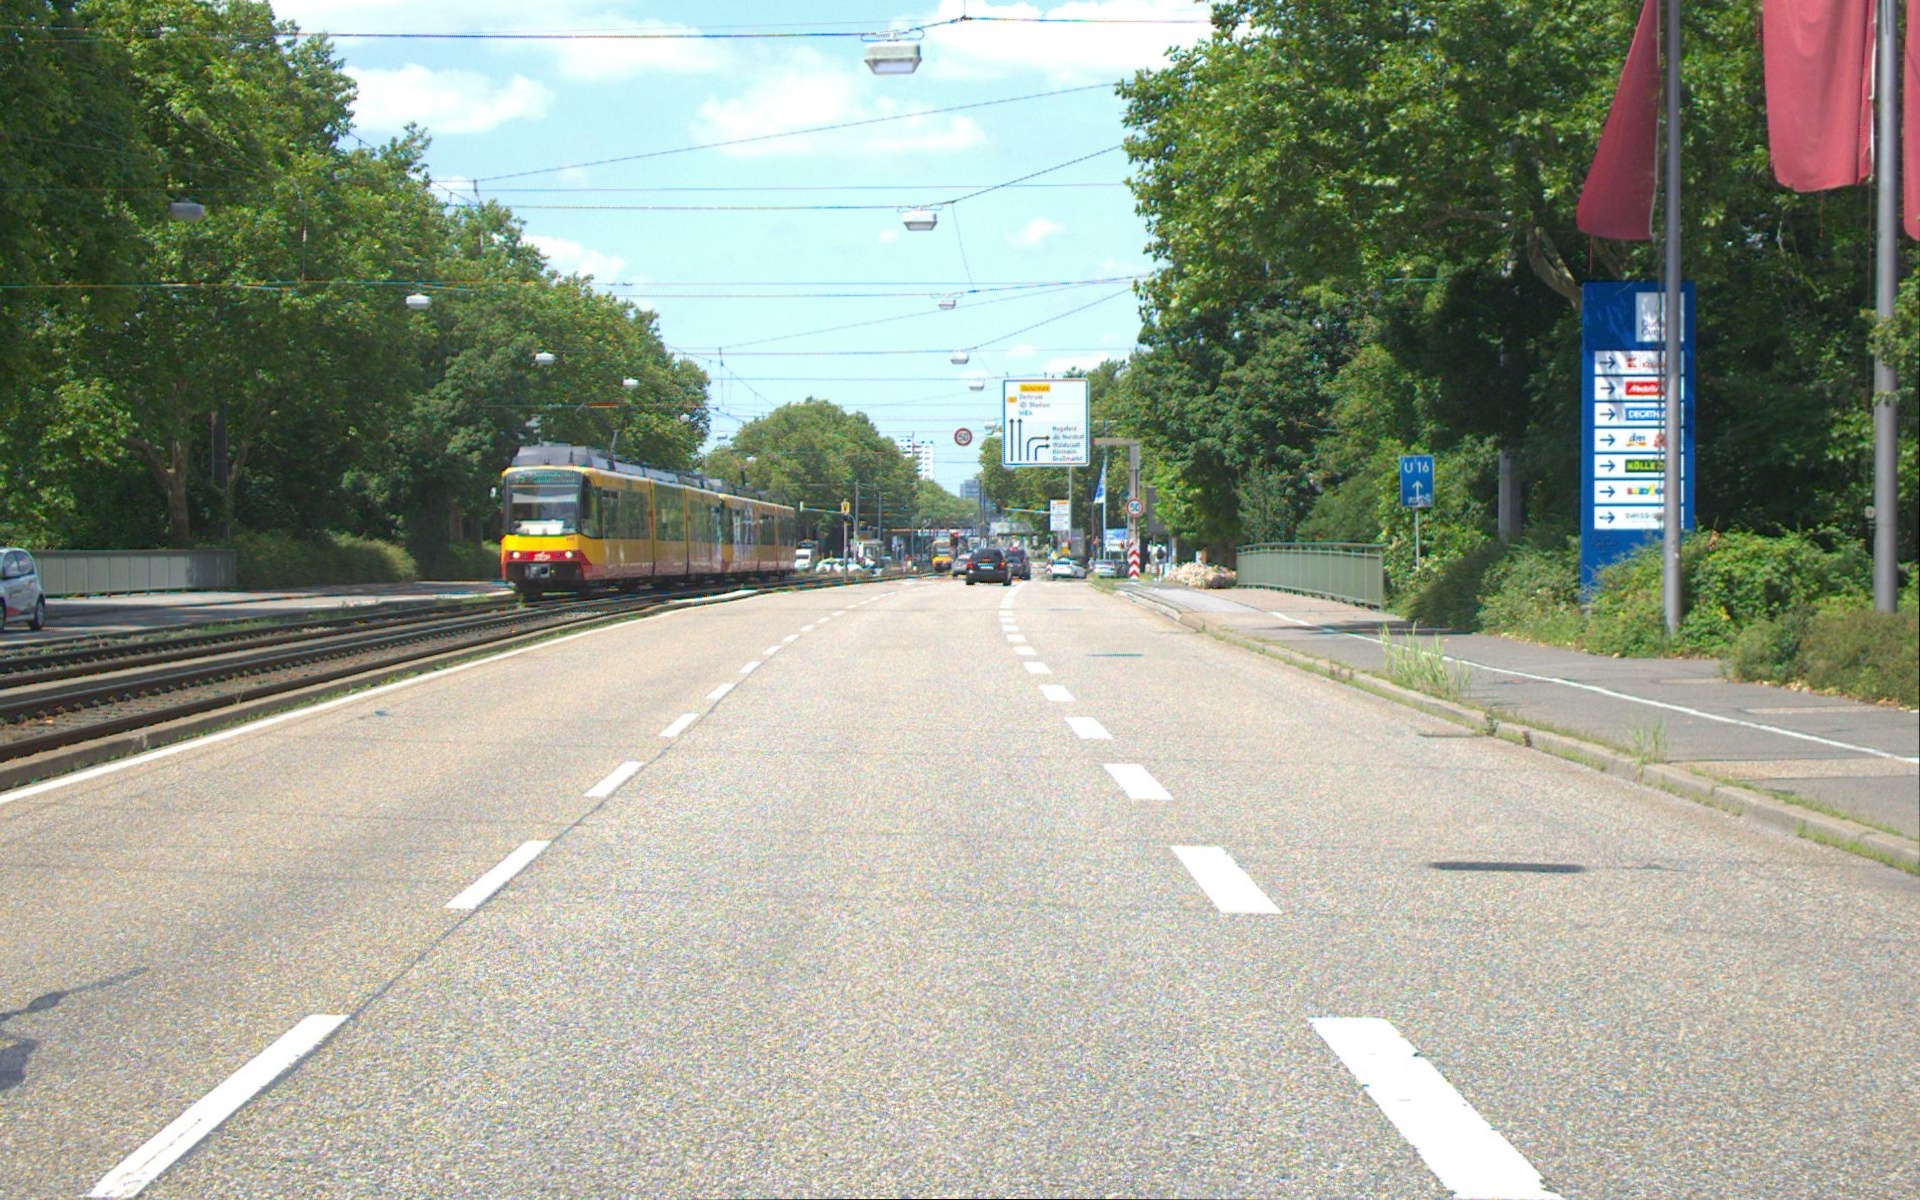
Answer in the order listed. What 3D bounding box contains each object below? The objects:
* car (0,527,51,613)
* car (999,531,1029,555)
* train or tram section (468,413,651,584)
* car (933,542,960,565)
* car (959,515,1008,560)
[{"bbox_3d":[-16.863,-0.513,58.881,1.636,1.431,3.722,-1,1,-1],"label":"car"},{"bbox_3d":[3.694,-3.871,234.466,1.876,1.534,3.777,2,1,-1],"label":"car"},{"bbox_3d":[-10.696,-2.691,93.561,3.048,4.252,15.423,0,1,0],"label":"train or tram section"},{"bbox_3d":[-0.970,-3.265,243.617,1.842,1.544,3.777,2,1,-1],"label":"car"},{"bbox_3d":[0.974,-2.604,143.828,1.899,1.799,3.977,2,1,-1],"label":"car"}]
